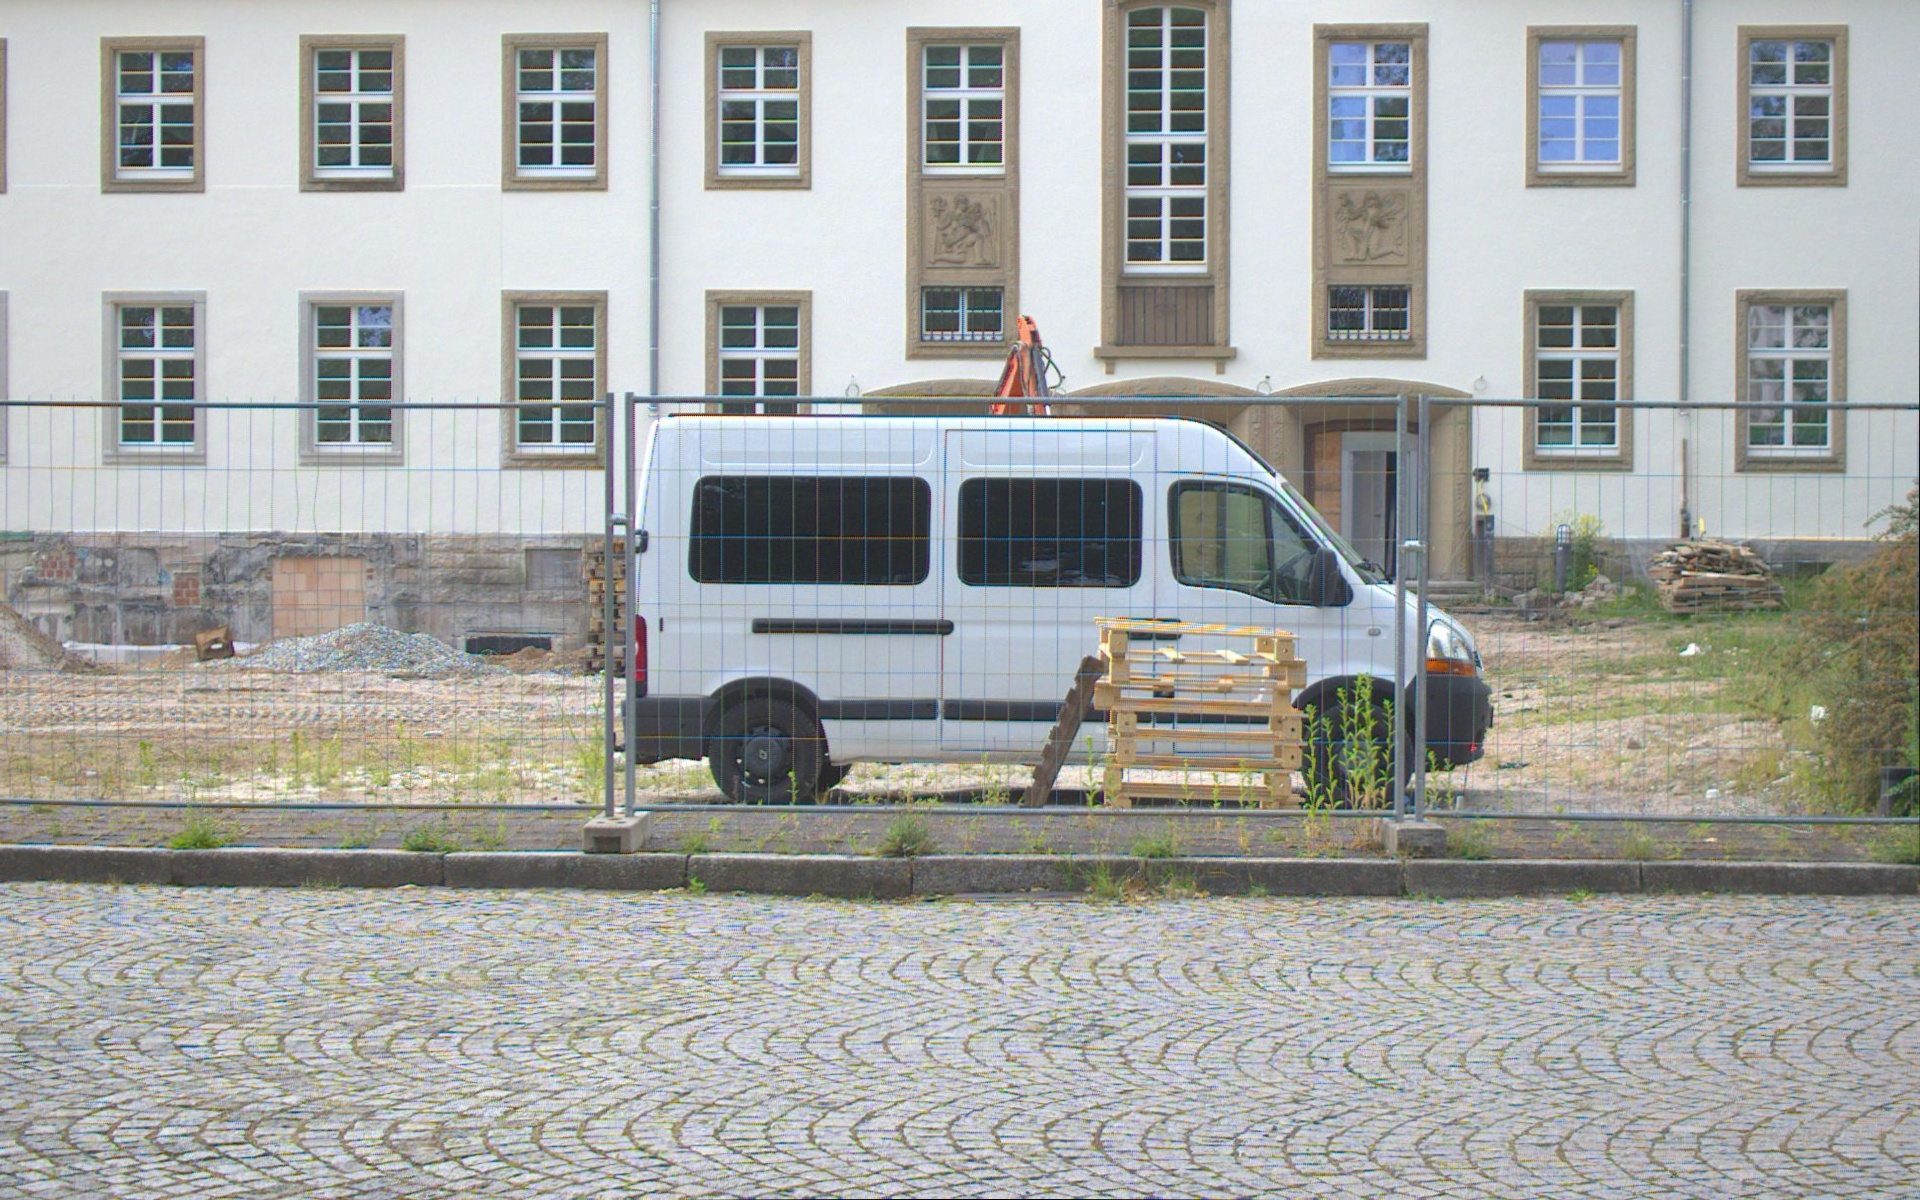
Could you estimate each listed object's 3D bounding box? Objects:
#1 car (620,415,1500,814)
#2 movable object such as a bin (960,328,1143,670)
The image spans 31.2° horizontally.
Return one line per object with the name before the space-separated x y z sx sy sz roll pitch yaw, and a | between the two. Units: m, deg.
car | 0.654 0.054 21.541 5.264 2.336 1.910 1 1 5
movable object such as a bin | 1.019 -1.171 40.661 1.993 3.758 5.318 1 1 0
